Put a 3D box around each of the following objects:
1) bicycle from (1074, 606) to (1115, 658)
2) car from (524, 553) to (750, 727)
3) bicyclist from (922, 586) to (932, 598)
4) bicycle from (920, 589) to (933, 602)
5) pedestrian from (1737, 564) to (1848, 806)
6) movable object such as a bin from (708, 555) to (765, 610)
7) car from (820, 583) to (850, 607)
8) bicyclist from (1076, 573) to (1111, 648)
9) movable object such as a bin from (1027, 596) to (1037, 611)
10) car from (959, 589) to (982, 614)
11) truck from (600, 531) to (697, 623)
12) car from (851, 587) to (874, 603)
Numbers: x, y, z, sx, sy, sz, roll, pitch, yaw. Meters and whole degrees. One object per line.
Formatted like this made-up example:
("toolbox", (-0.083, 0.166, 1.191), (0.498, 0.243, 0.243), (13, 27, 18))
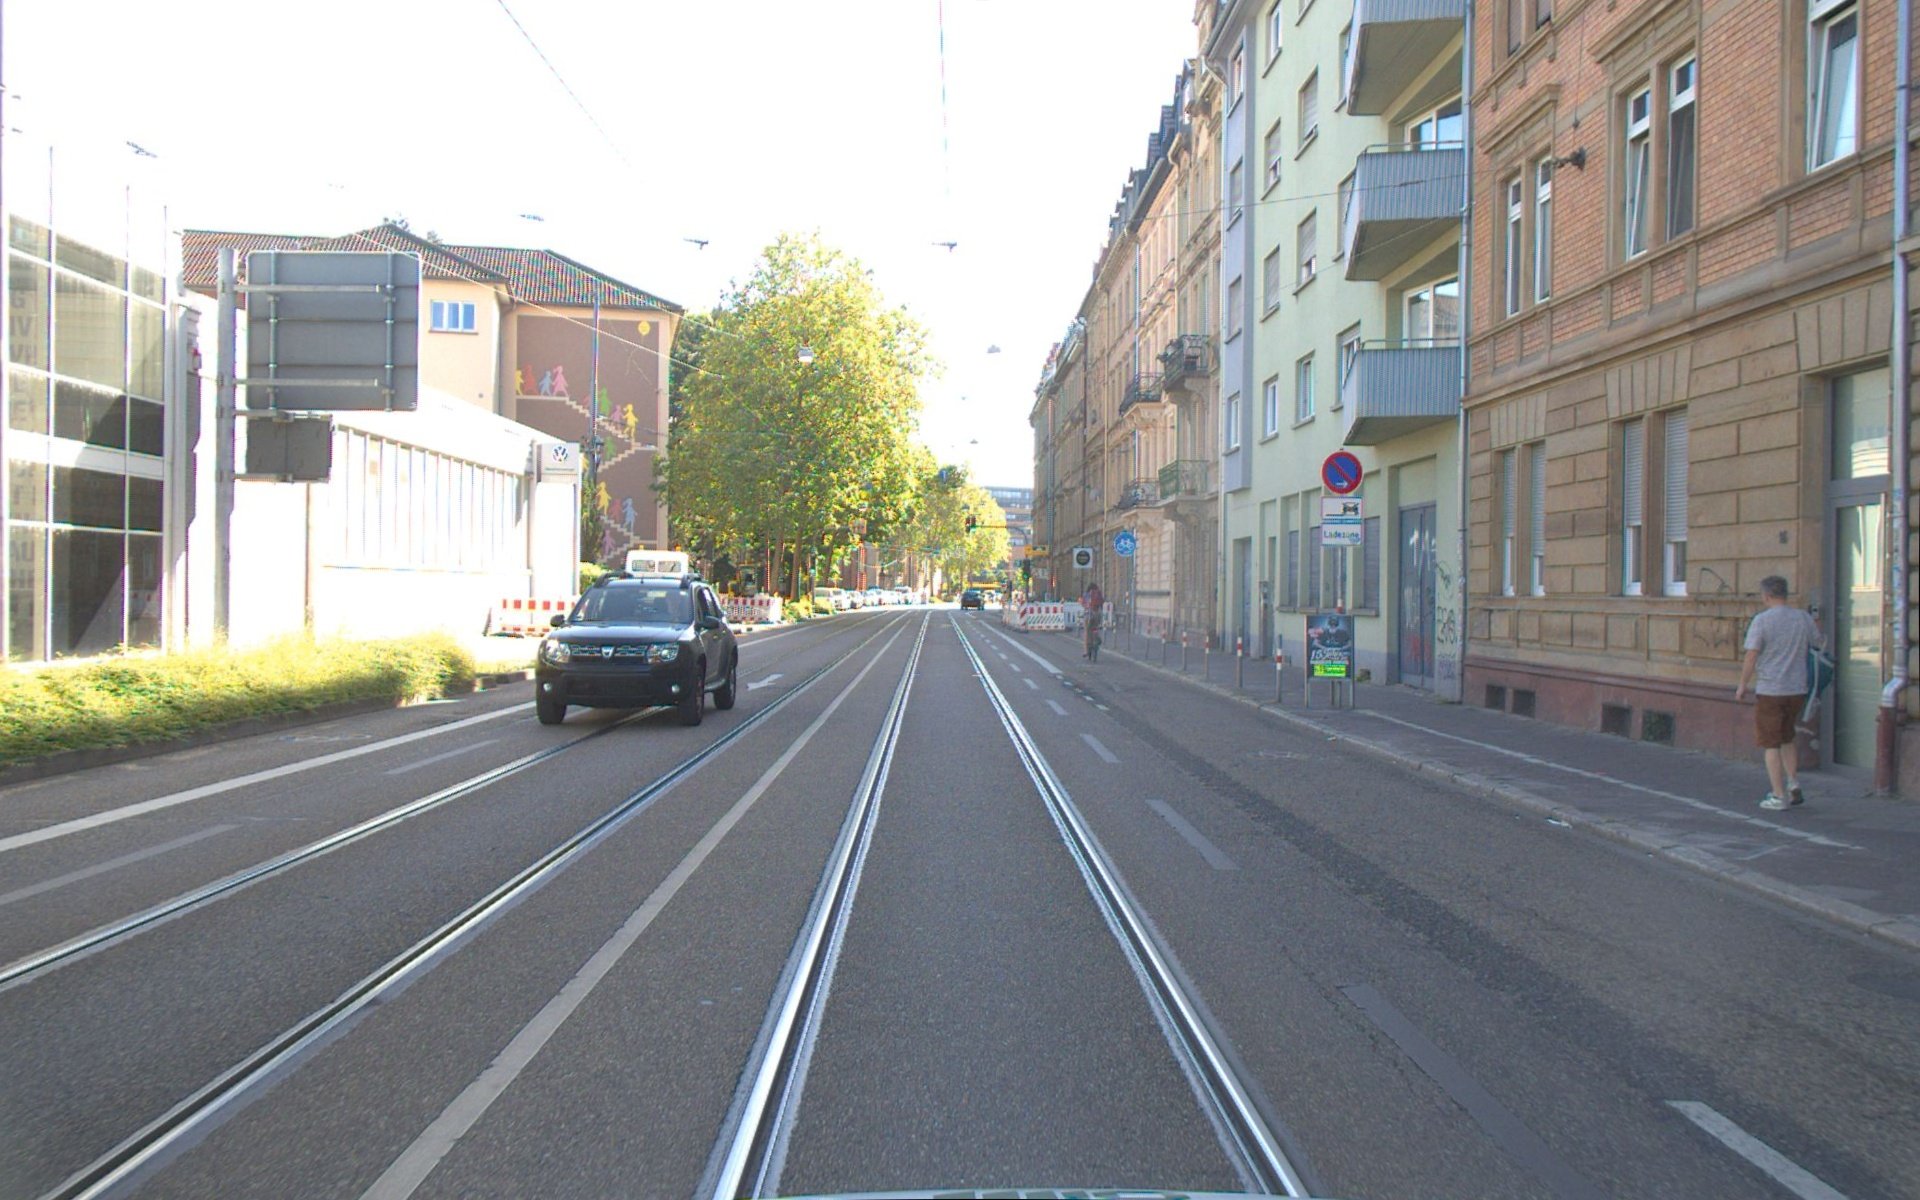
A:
("bicycle", (3.157, 0.738, 39.030), (0.667, 1.134, 2.706), (3, 0, -1))
("car", (-3.627, 0.426, 19.302), (1.723, 1.726, 4.144), (3, 0, 0))
("bicyclist", (-4.217, -1.014, 211.961), (1.054, 1.452, 1.147), (3, 0, 7))
("bicycle", (-4.261, -0.584, 211.995), (1.208, 1.600, 2.899), (3, 0, 6))
("pedestrian", (6.084, 0.608, 12.109), (0.541, 1.730, 0.473), (-1, 0, -1))
("movable object such as a bin", (-11.874, -0.923, 88.167), (2.446, 2.691, 5.985), (3, 0, -3))
("car", (-9.236, -0.365, 122.505), (1.712, 1.636, 4.044), (3, 0, 2))
("bicyclist", (3.178, 0.248, 39.318), (0.653, 1.726, 1.043), (3, 0, -1))
("movable object such as a bin", (5.117, 0.222, 117.464), (0.660, 1.054, 0.813), (1, 1, 0))
("car", (0.906, 0.136, 147.591), (1.953, 2.049, 4.000), (3, 0, 0))
("truck", (-10.663, -0.740, 57.139), (2.488, 2.879, 6.370), (3, 0, -4))
("car", (-9.477, -0.471, 160.982), (1.712, 1.521, 4.044), (3, 0, 2))
